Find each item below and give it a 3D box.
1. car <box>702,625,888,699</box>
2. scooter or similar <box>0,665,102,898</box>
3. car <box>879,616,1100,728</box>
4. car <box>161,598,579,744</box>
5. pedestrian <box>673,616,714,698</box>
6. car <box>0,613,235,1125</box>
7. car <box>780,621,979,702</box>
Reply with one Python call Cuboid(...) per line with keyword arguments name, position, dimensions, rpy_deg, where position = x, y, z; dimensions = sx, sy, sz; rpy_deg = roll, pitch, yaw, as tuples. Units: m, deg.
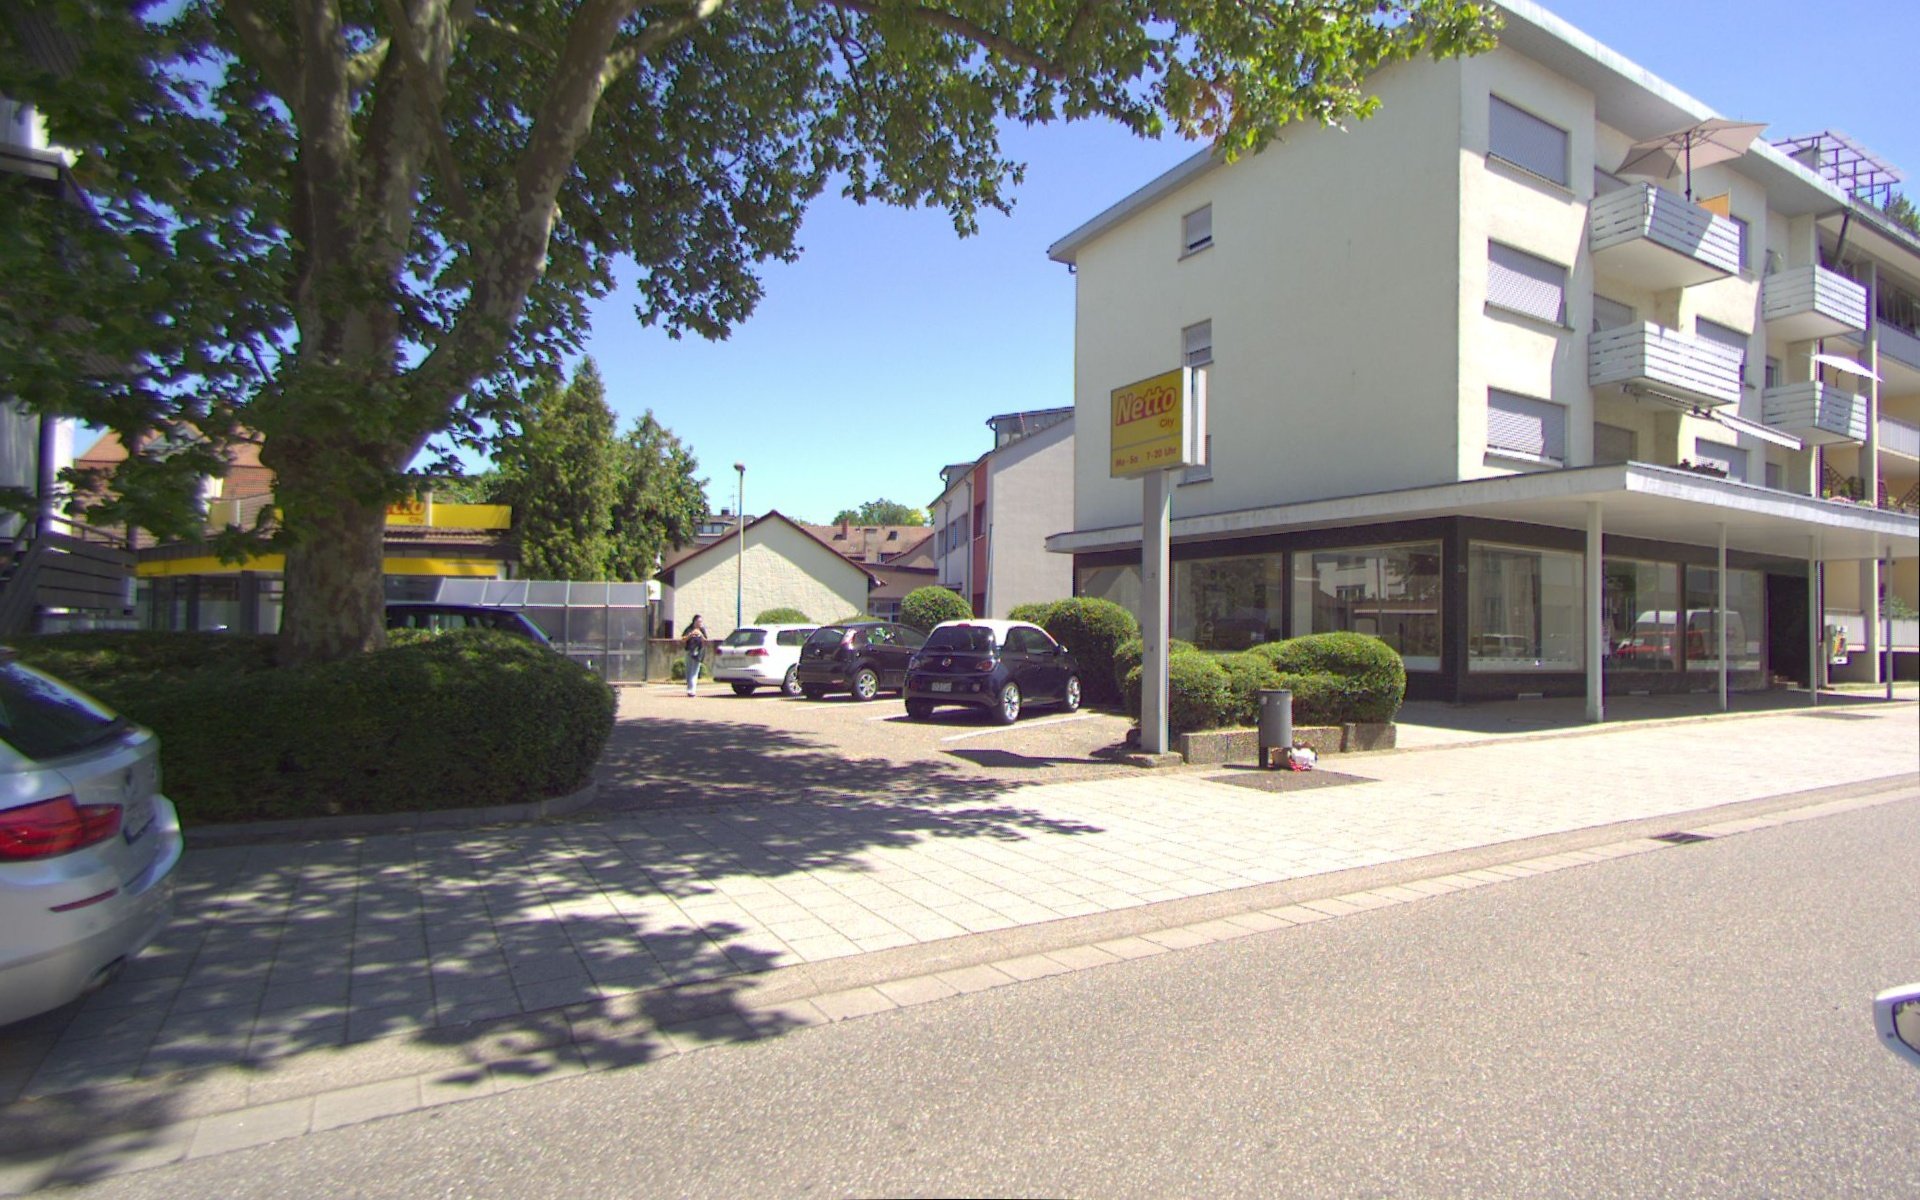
Cuboid(name="car", position=(-3.468, 1.308, 21.809), dimensions=(1.746, 1.453, 4.026), rpy_deg=(-2, -3, 33))
Cuboid(name="scooter or similar", position=(-5.147, 0.916, 5.142), dimensions=(1.016, 1.113, 0.660), rpy_deg=(1, 0, -30))
Cuboid(name="car", position=(0.603, 1.046, 15.744), dimensions=(1.863, 1.506, 3.990), rpy_deg=(0, -2, 29))
Cuboid(name="car", position=(-6.874, 0.827, 12.241), dimensions=(4.041, 1.565, 1.805), rpy_deg=(1, -2, -18))
Cuboid(name="pedestrian", position=(-5.490, 1.158, 20.677), dimensions=(0.708, 1.648, 0.681), rpy_deg=(1, -1, -24))
Cuboid(name="car", position=(-5.137, 0.749, 2.614), dimensions=(5.093, 1.471, 1.970), rpy_deg=(2, -1, -32))
Cuboid(name="car", position=(-1.535, 1.202, 20.267), dimensions=(1.726, 1.481, 3.909), rpy_deg=(-2, -3, 42))
